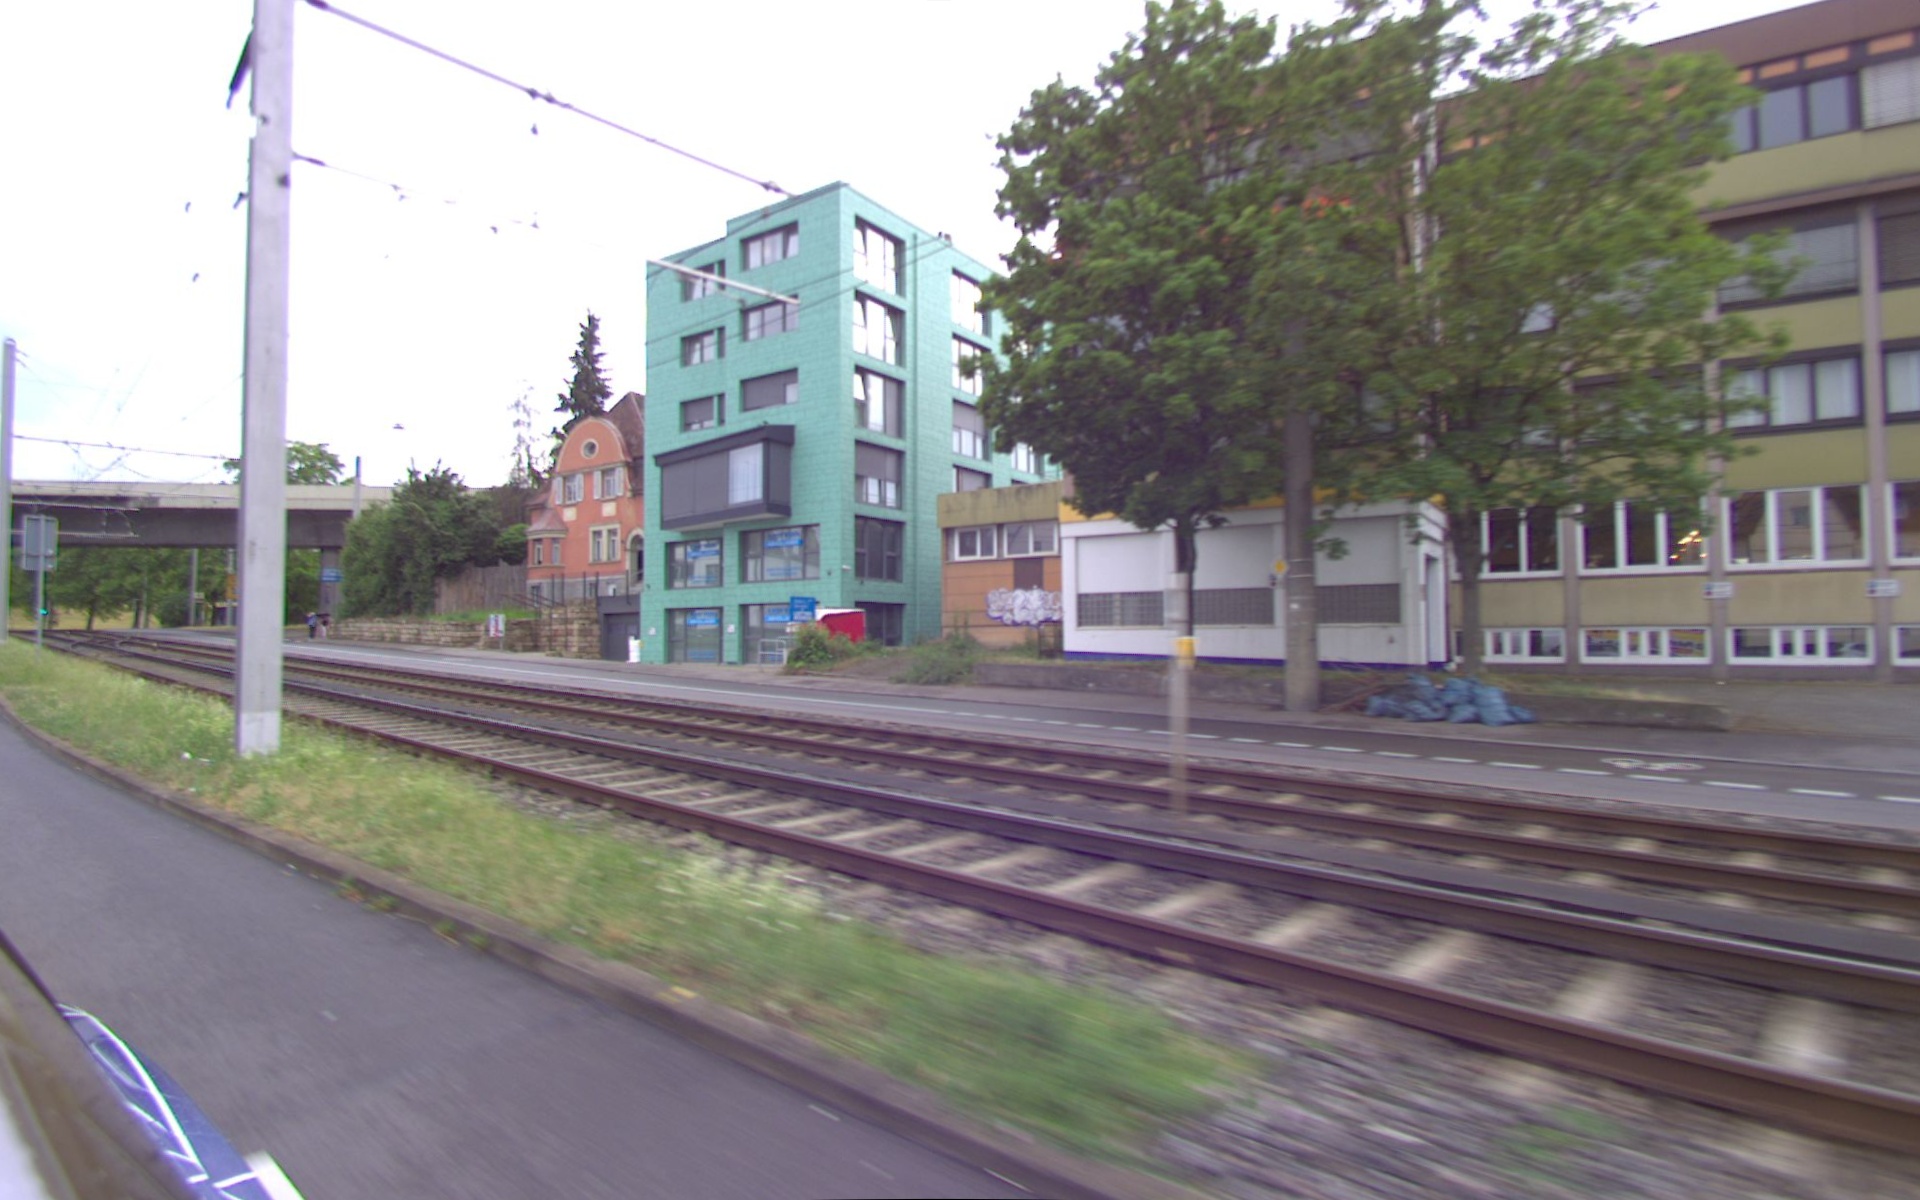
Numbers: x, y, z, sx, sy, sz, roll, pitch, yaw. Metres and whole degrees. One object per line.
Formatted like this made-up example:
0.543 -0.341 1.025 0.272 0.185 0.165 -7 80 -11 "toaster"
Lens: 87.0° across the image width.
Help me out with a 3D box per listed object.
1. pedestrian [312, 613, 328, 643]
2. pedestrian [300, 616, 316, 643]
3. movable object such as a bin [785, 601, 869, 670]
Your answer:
-40.146 1.757 63.449 0.867 1.845 0.685 -2 -2 44 "pedestrian"
-40.180 1.819 62.368 0.685 1.683 0.889 0 -2 -43 "pedestrian"
-4.407 1.167 33.644 1.798 2.173 2.115 -2 -1 35 "movable object such as a bin"
